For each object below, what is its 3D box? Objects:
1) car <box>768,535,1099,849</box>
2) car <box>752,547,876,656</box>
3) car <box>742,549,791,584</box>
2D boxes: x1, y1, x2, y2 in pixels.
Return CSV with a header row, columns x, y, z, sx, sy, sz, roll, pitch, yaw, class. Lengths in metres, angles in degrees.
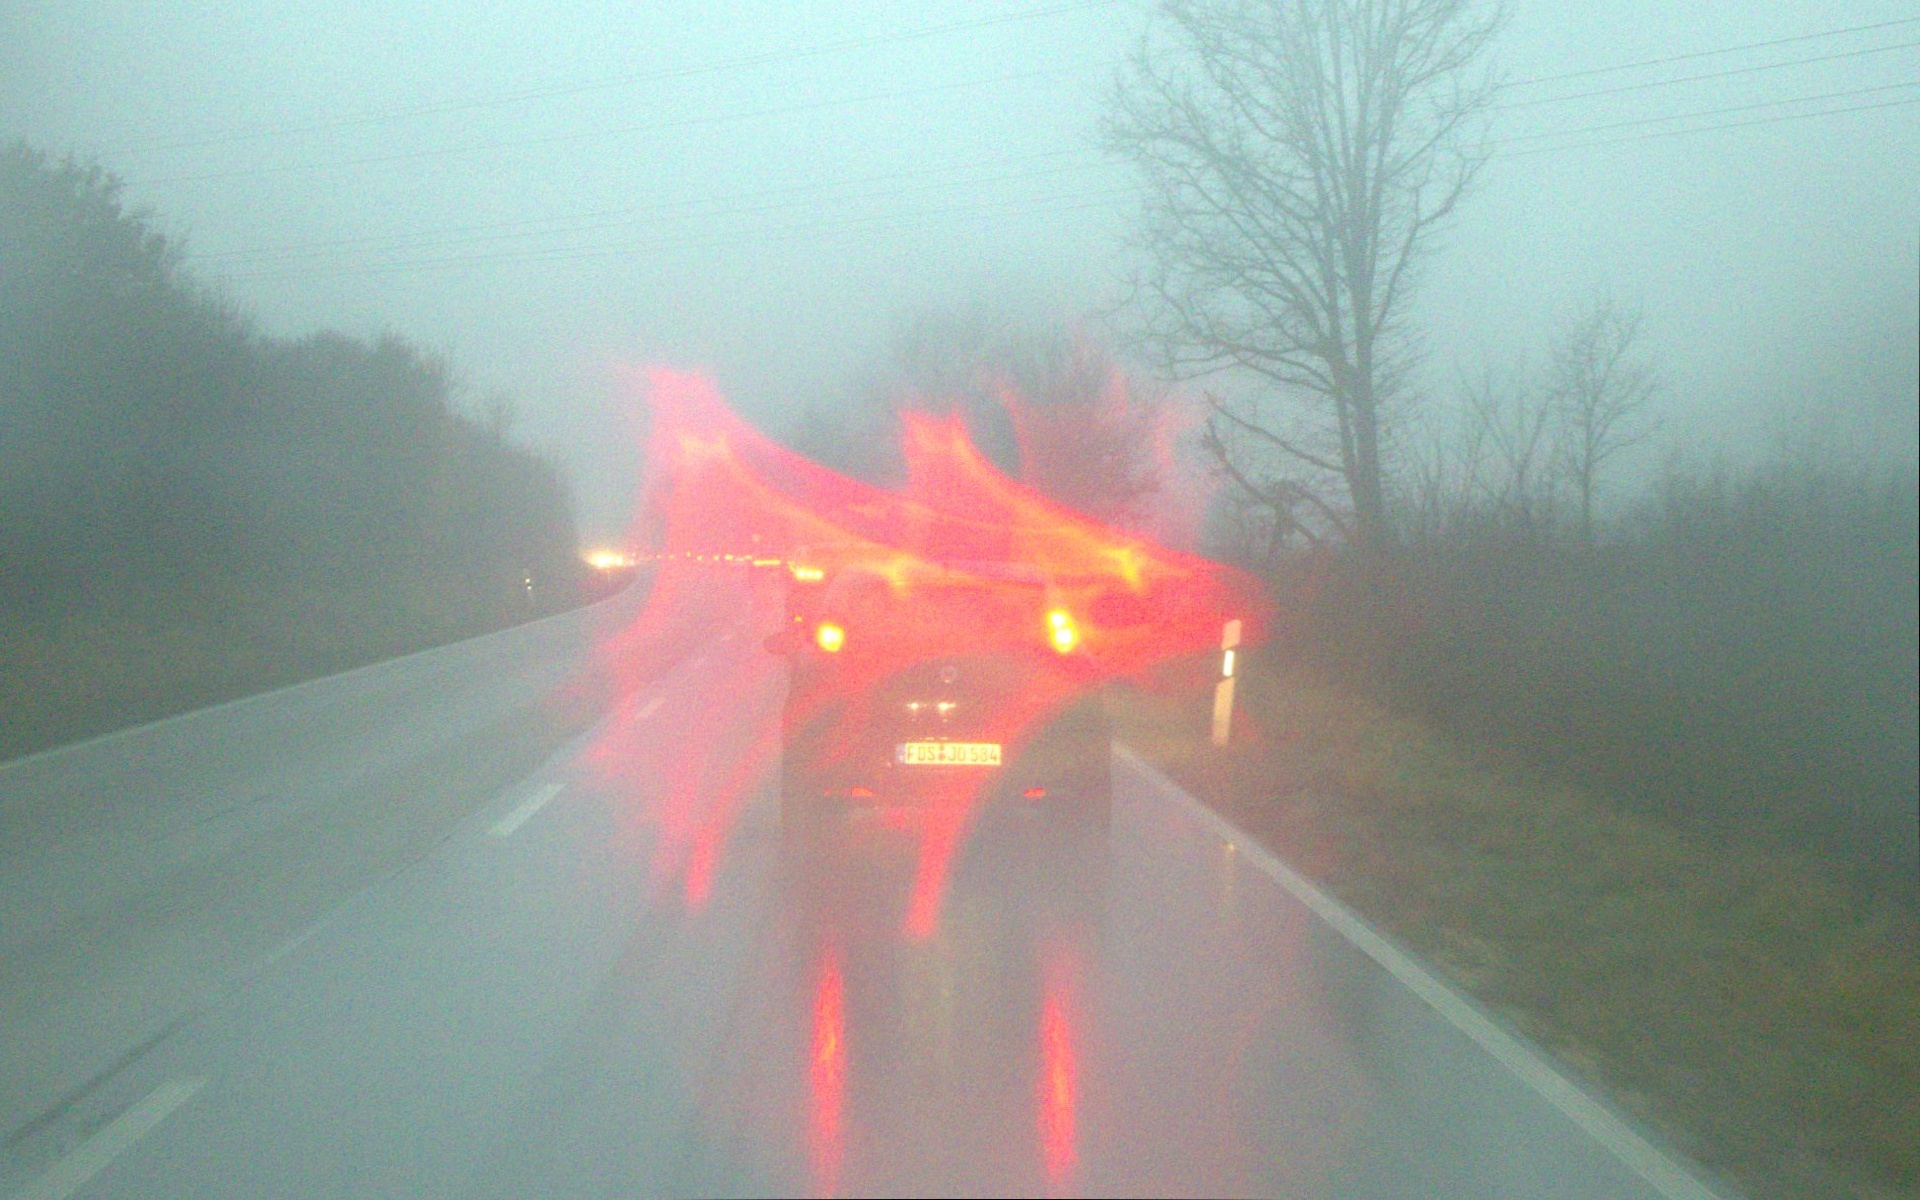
x,y,z,sx,sy,sz,roll,pitch,yaw,class
-0.064,0.415,18.747,1.602,1.517,3.869,1,1,2,car
-1.945,-0.010,46.542,1.547,1.392,3.870,1,1,-1,car
-7.848,-1.368,139.449,1.547,1.392,3.869,1,1,3,car
